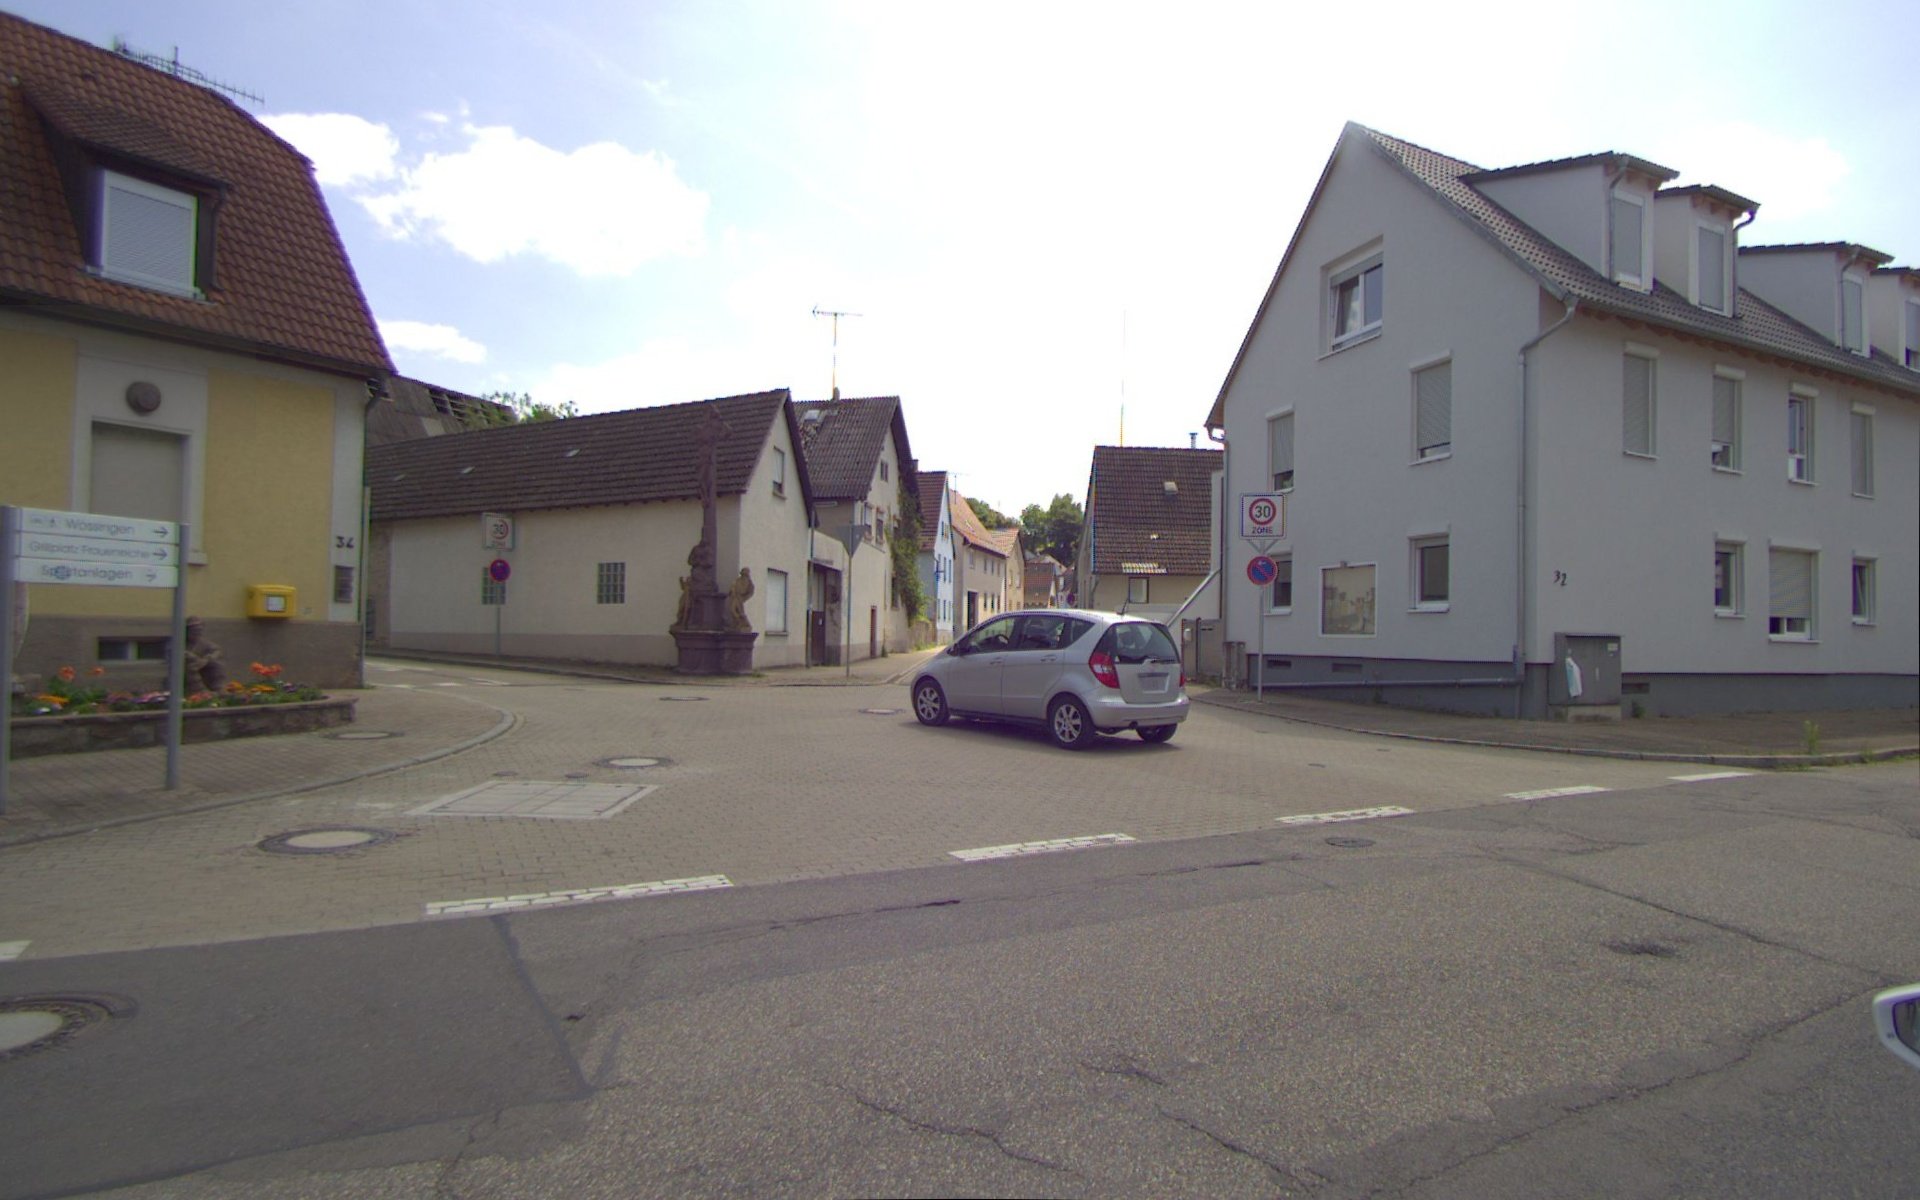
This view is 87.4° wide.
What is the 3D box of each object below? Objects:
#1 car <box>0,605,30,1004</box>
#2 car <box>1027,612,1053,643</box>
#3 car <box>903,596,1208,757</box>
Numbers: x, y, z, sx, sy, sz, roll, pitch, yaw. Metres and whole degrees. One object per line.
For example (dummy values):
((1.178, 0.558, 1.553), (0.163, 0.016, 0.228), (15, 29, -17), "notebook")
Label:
((-5.387, 0.586, 2.154), (1.782, 1.430, 4.627), (2, -2, 32), "car")
((4.589, 1.620, 57.937), (1.369, 1.656, 3.478), (3, -2, 4), "car")
((1.076, 0.849, 12.798), (1.800, 1.665, 3.688), (3, 0, -38), "car")
